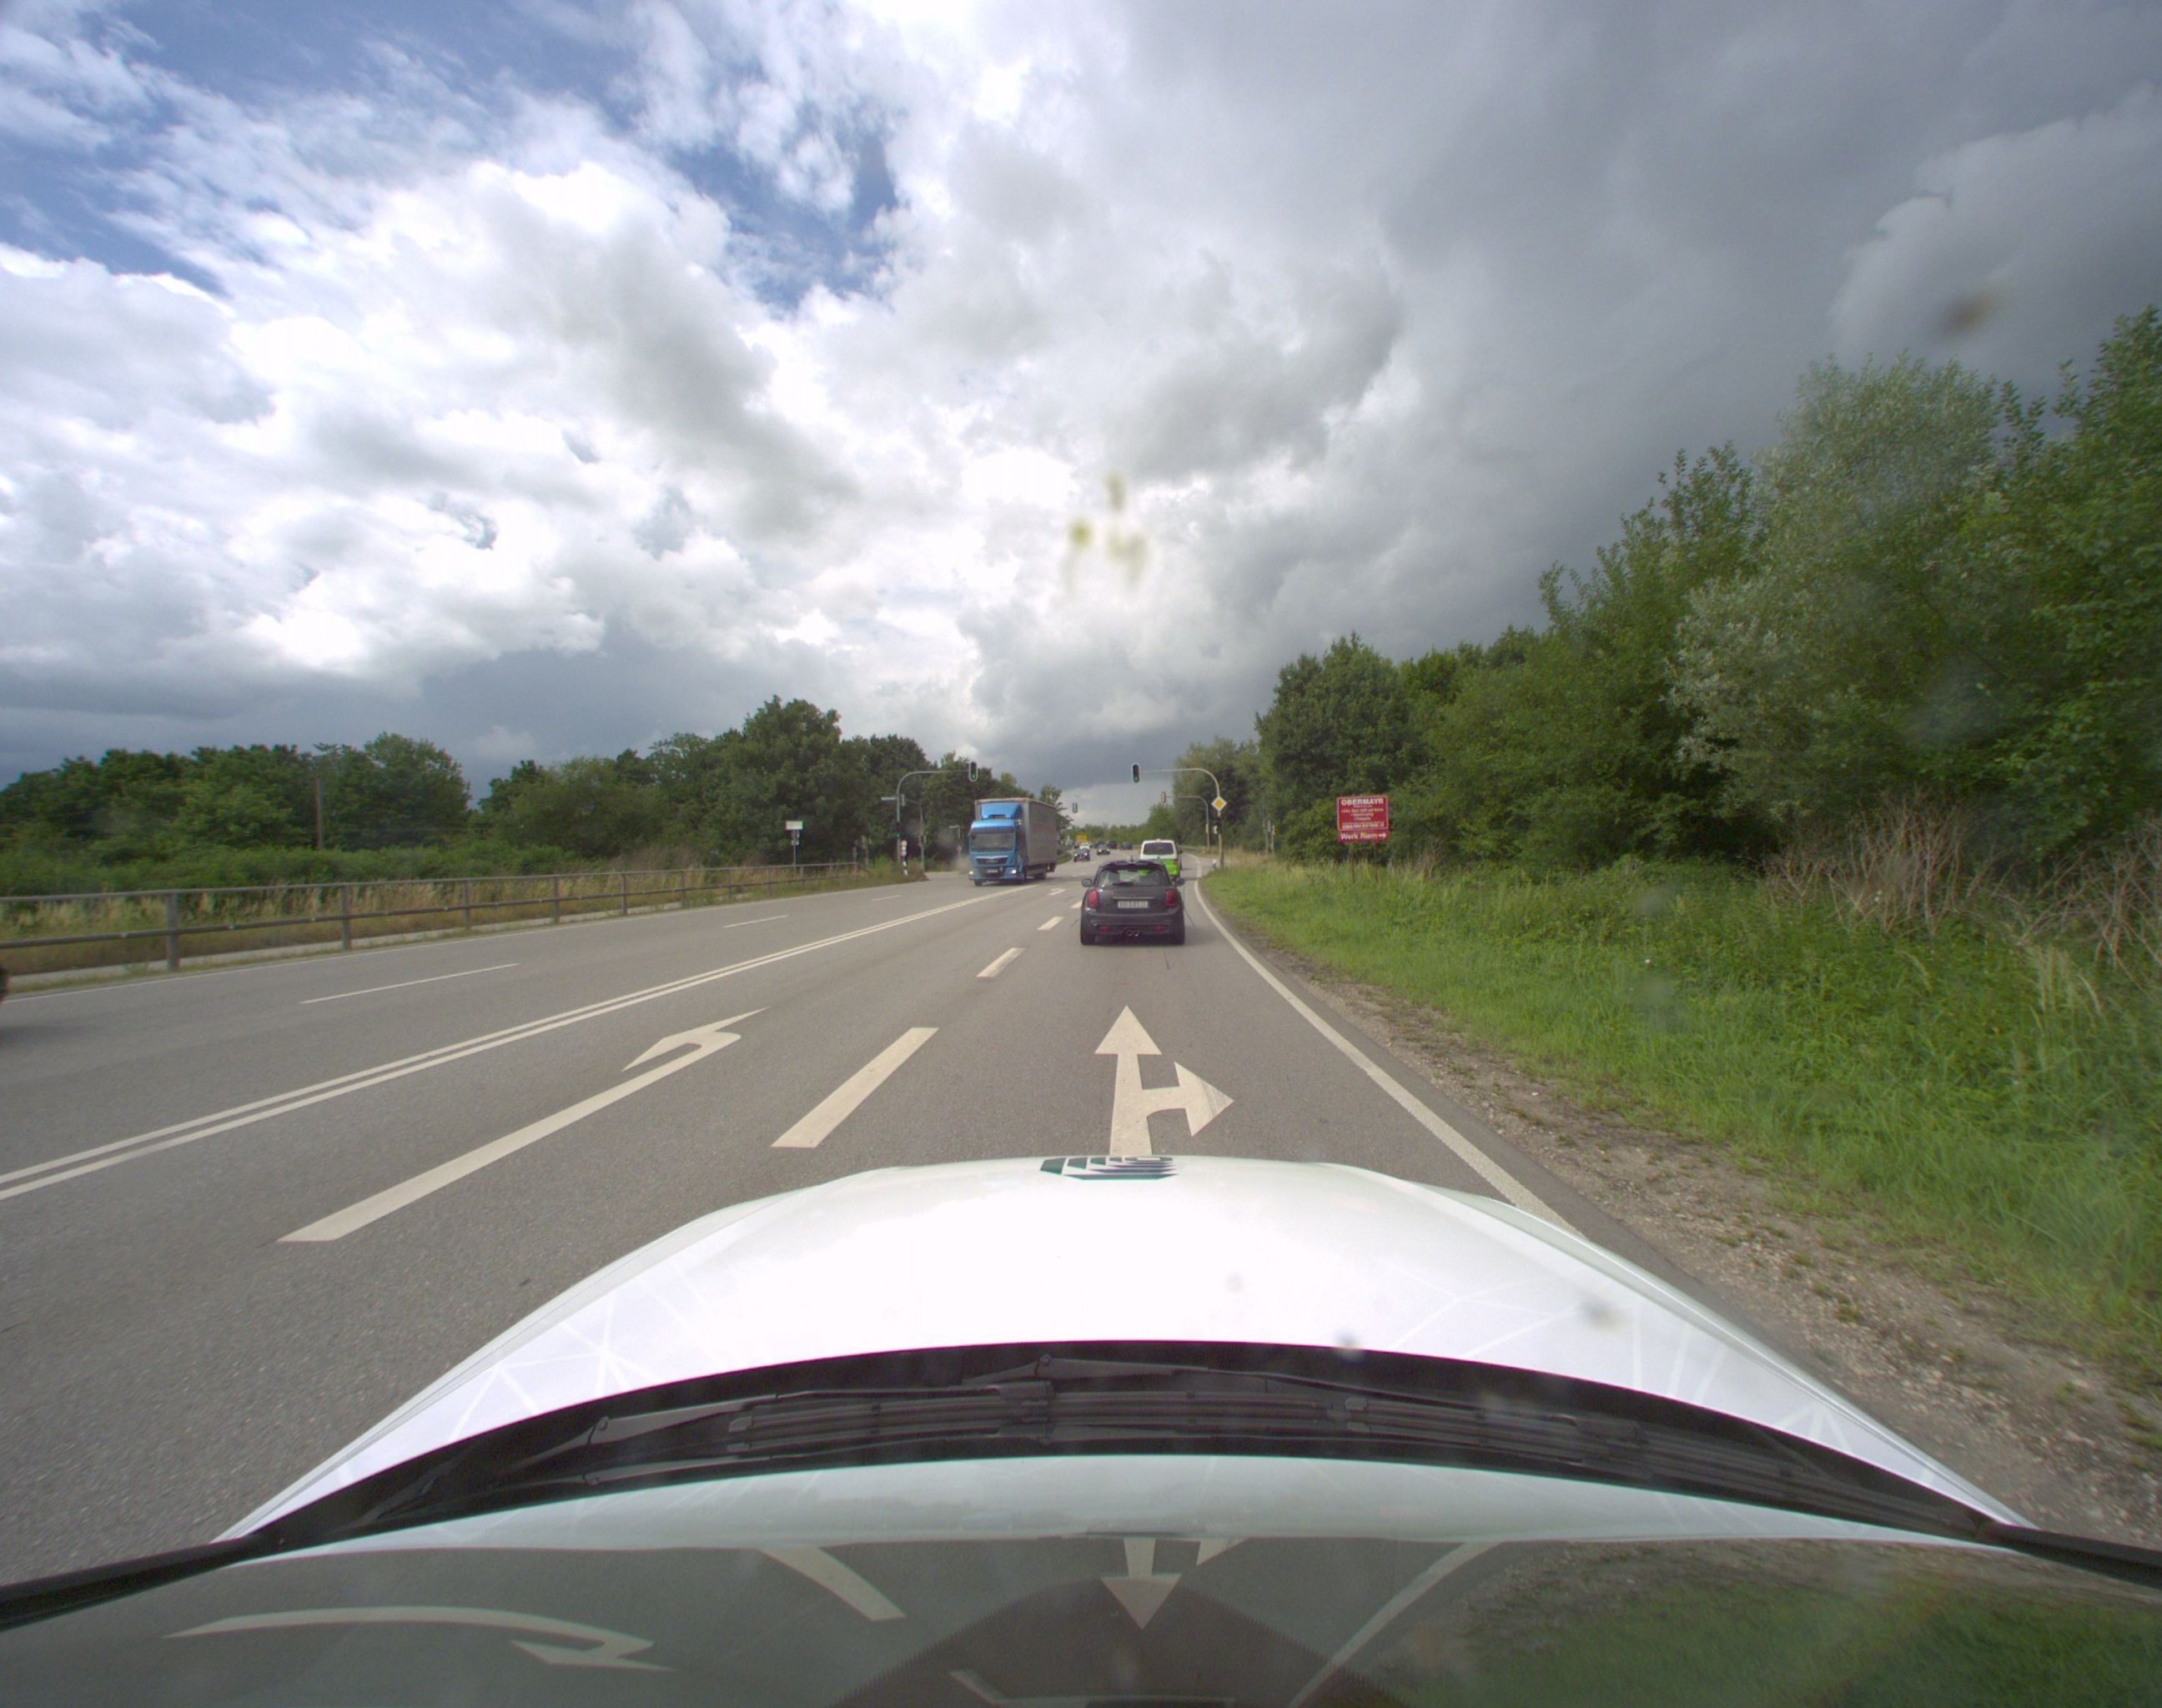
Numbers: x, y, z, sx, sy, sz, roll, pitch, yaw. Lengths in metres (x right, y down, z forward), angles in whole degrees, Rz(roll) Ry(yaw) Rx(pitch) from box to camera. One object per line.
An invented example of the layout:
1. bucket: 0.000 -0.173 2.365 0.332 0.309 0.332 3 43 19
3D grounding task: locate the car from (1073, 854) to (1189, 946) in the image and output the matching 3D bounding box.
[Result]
1. car: 0.891 0.733 14.922 1.837 1.428 3.844 -1 0 3

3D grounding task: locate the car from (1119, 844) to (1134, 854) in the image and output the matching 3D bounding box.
1. car: 8.174 -0.920 146.460 1.992 1.695 4.475 -1 0 -7

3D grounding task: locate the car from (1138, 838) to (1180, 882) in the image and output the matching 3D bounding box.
1. car: 3.833 0.245 39.622 1.835 1.987 3.850 -1 1 8

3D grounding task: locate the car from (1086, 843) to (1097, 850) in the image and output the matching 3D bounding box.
1. car: 2.532 -1.779 196.392 1.993 1.787 4.472 -1 0 -9

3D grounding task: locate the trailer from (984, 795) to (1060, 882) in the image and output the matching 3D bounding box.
1. trailer: -2.961 -0.762 42.638 2.513 4.101 6.750 -1 0 8

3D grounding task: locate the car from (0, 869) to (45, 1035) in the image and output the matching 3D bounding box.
1. car: -10.499 0.882 5.439 1.938 1.441 4.003 -1 0 3

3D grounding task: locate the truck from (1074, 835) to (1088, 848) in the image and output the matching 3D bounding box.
1. truck: -0.065 -3.208 212.646 2.714 2.898 8.747 -1 -1 -7

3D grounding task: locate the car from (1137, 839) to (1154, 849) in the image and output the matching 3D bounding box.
1. car: 10.025 -1.588 126.880 1.990 1.476 4.479 -1 0 -4

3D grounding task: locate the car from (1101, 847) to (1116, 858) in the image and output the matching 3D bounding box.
1. car: 4.213 -0.263 125.084 1.779 1.530 4.911 -4 0 6

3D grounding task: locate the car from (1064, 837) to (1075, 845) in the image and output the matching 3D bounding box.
1. car: -2.405 -2.734 170.330 1.990 1.690 3.994 -2 1 -4

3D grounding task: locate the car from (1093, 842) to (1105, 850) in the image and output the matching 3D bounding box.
1. car: 3.880 -1.696 177.609 1.993 1.695 4.472 -1 0 -9

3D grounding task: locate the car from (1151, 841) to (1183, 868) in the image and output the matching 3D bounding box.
1. car: 5.663 0.051 53.672 1.984 1.684 4.006 -2 0 5

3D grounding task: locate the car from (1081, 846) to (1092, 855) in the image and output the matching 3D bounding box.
1. car: 0.982 -0.660 149.017 1.722 1.504 4.349 -2 1 2

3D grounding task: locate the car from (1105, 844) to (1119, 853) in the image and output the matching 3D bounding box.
1. car: 6.161 -1.160 161.323 1.992 1.695 4.475 -1 0 -7

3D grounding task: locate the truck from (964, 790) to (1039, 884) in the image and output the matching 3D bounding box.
1. truck: -3.605 -0.749 37.860 2.526 4.096 4.009 -1 0 8

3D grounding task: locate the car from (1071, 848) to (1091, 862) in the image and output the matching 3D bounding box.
1. car: 0.051 0.086 97.344 1.781 1.573 4.009 -2 0 8
